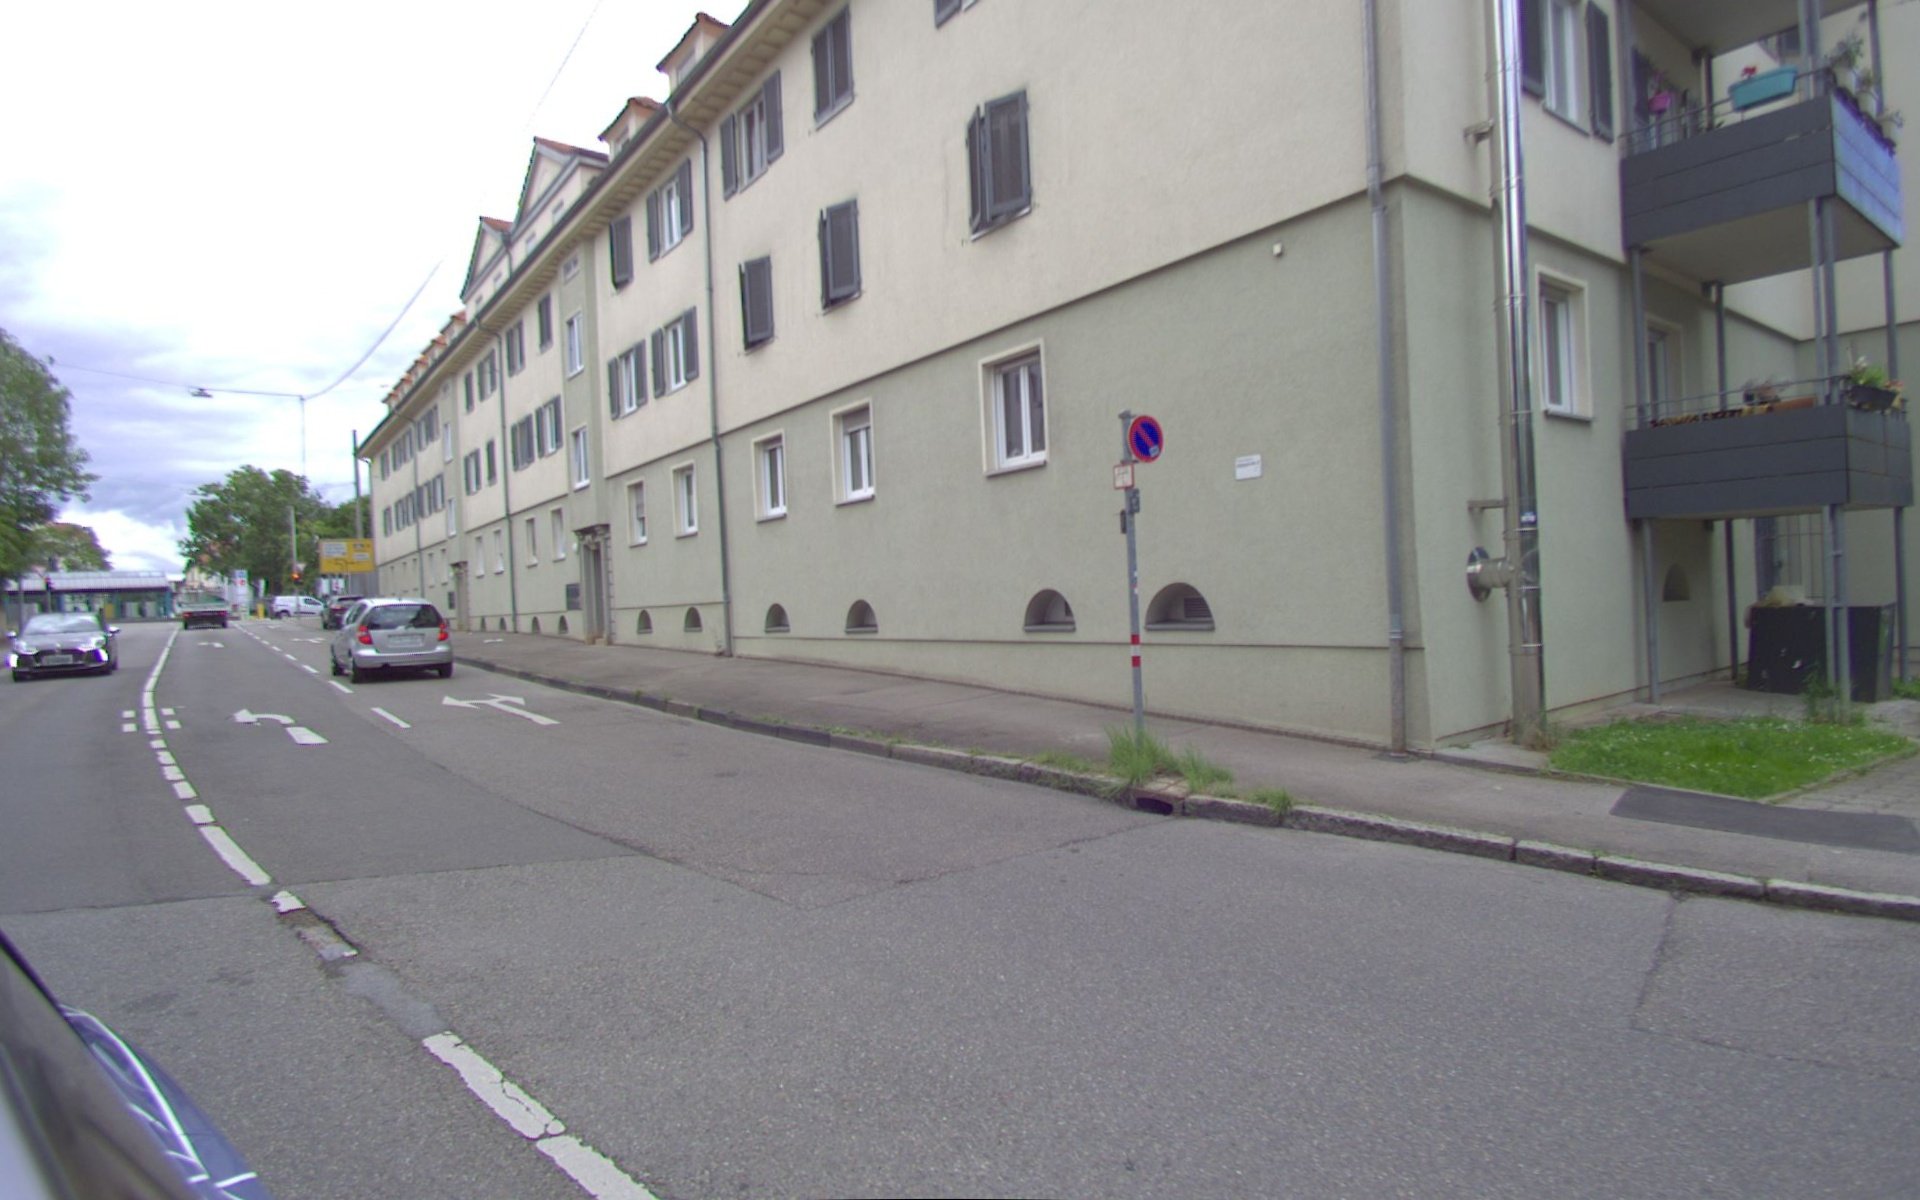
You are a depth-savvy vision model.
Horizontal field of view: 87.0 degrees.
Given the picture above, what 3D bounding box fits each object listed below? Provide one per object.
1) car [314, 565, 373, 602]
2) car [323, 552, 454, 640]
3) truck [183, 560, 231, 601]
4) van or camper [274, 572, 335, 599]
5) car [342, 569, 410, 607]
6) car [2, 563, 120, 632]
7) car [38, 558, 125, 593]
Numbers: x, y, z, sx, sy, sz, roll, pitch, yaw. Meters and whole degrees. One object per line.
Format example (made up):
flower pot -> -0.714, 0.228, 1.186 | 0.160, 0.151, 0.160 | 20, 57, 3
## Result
car -> -29.864, -0.790, 48.981 | 1.799, 1.645, 4.705 | -3, 2, -39
car -> -11.744, -0.137, 20.677 | 1.700, 1.617, 3.985 | -2, 2, -38
truck -> -43.878, -1.105, 58.989 | 2.093, 2.218, 6.604 | -1, 1, -37
van or camper -> -52.839, -1.188, 81.588 | 3.989, 2.029, 2.004 | -2, 1, -38
car -> -23.406, -0.477, 40.467 | 1.688, 1.413, 4.856 | -2, 2, -38
car -> -20.281, -0.075, 22.963 | 1.620, 1.408, 3.790 | -2, 2, -36
car -> -53.830, -1.530, 62.080 | 3.938, 2.028, 2.003 | -2, 2, -41
